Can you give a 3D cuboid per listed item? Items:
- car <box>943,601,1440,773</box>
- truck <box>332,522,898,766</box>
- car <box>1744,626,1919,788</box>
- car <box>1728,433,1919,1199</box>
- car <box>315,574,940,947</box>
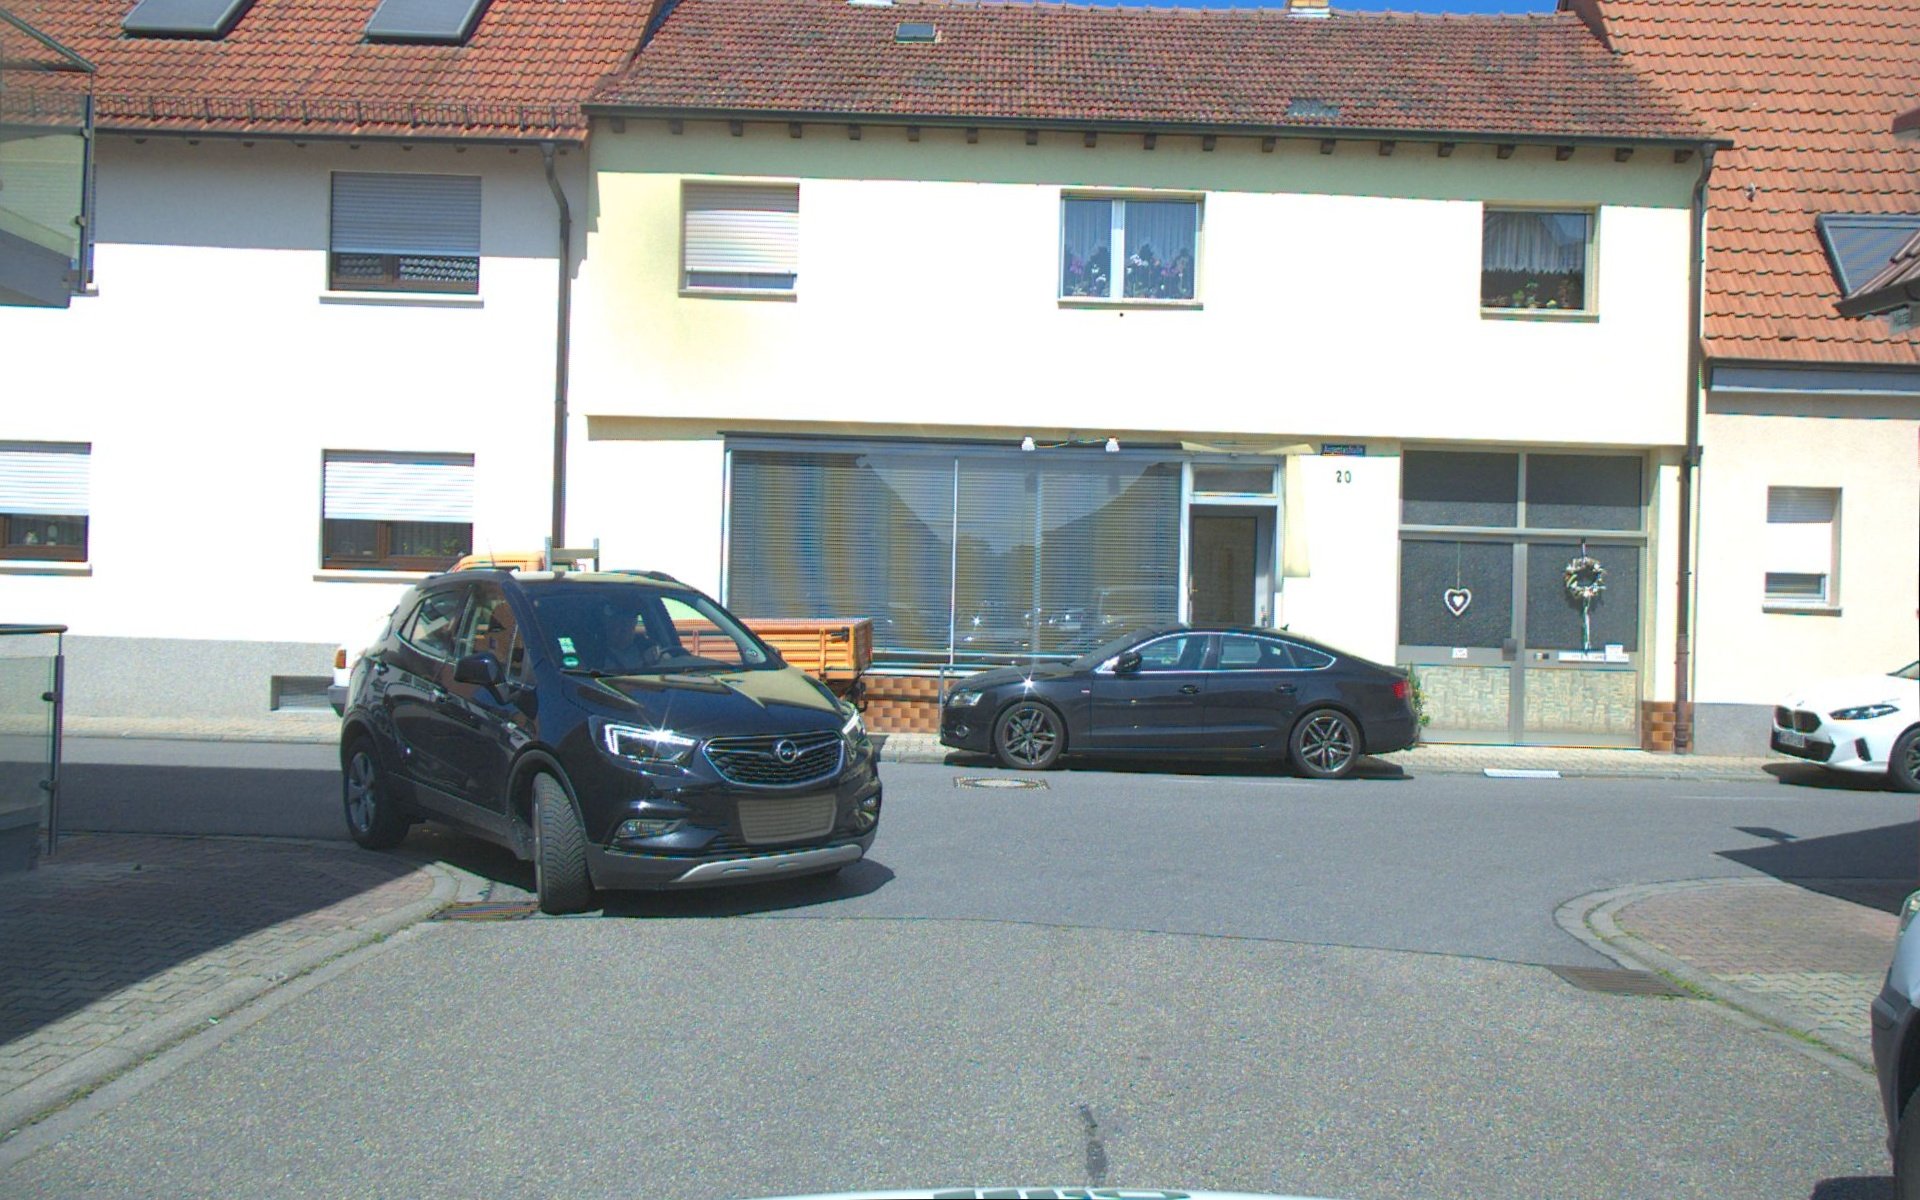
[{"bbox_3d":[2.121,0.849,16.094,4.522,1.419,1.927,2,-3,-1],"label":"car"},{"bbox_3d":[-3.184,0.406,16.142,4.959,2.049,2.190,2,-1,1],"label":"truck"},{"bbox_3d":[10.257,1.075,16.374,4.115,1.479,1.788,2,-1,1],"label":"car"},{"bbox_3d":[3.044,0.611,1.810,1.971,1.871,5.266,3,0,1],"label":"car"},{"bbox_3d":[-2.088,0.671,9.355,1.745,1.610,4.221,0,1,-39],"label":"car"}]
